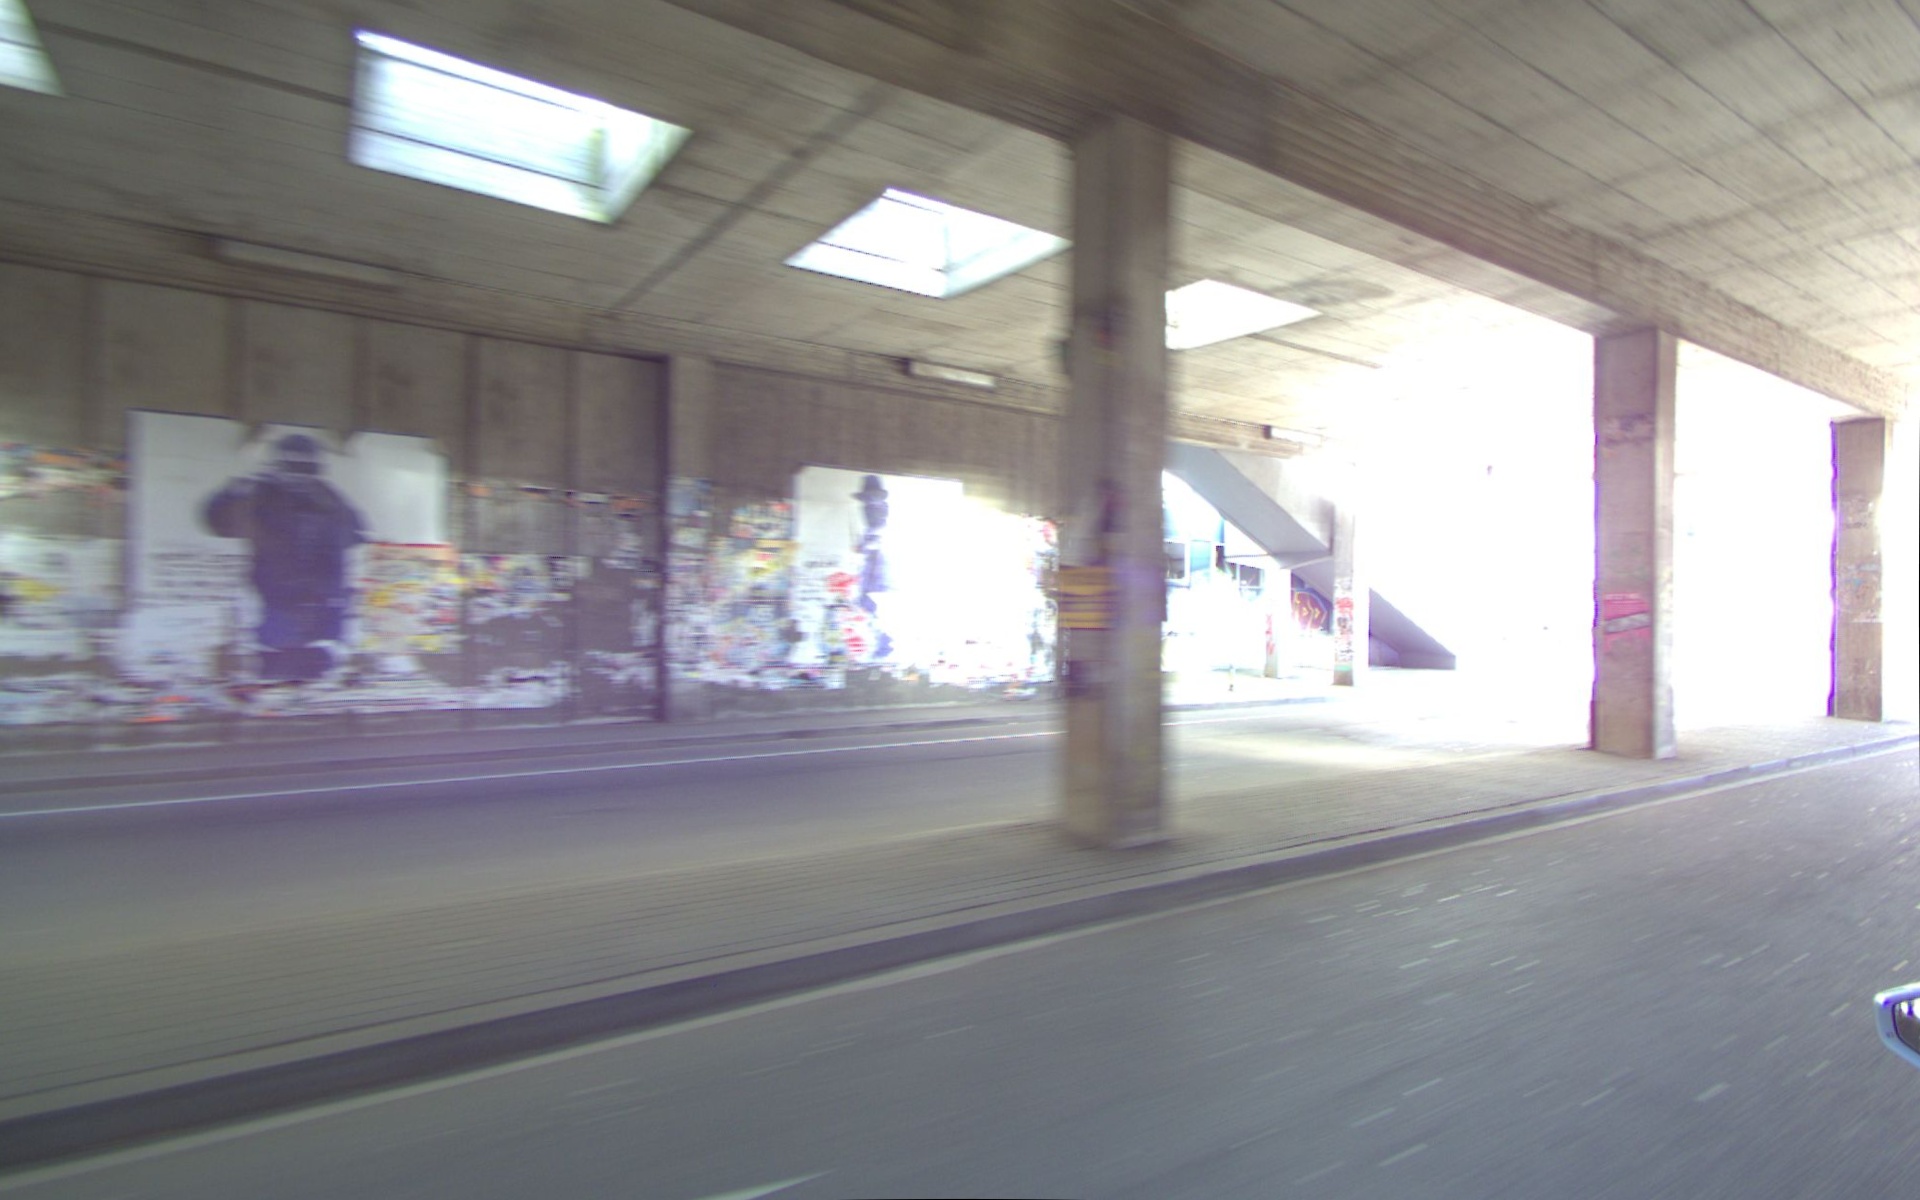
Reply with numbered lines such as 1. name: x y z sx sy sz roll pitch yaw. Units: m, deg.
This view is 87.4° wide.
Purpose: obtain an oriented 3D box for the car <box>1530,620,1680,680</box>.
1. car: 24.750 1.848 38.677 1.979 2.041 4.452 -2 1 -33
